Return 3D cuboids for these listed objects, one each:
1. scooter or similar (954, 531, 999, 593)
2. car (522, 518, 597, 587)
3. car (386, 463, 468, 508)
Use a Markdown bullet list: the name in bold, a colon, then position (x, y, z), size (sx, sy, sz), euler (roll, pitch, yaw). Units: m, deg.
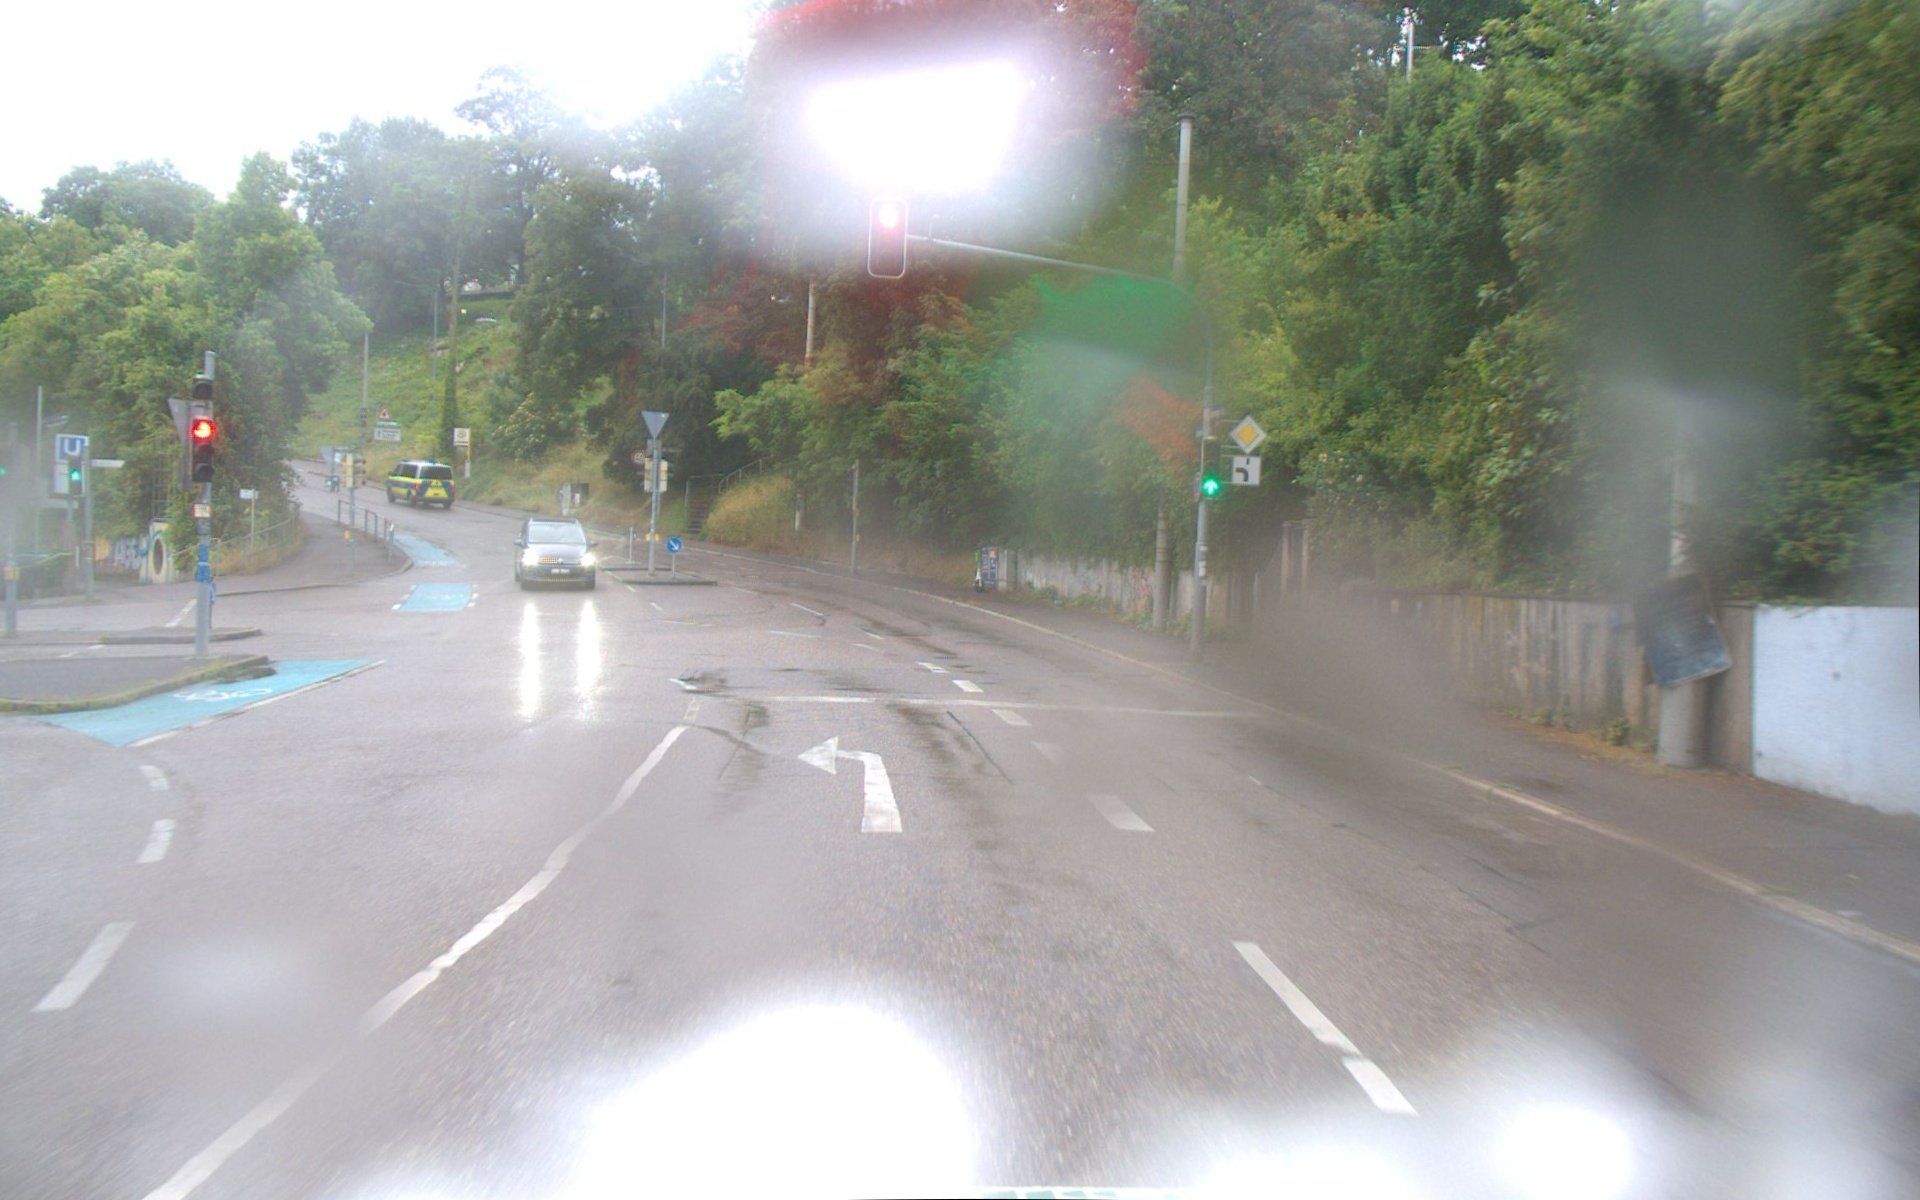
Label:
- **scooter or similar**: position (0.407, -0.998, 42.616), size (0.606, 1.446, 2.152), euler (0, 5, -15)
- **car**: position (-10.013, -1.231, 41.344), size (1.712, 1.576, 3.987), euler (-1, 4, -14)
- **car**: position (-24.314, -5.178, 75.344), size (2.292, 1.972, 4.269), euler (-3, 4, -37)
